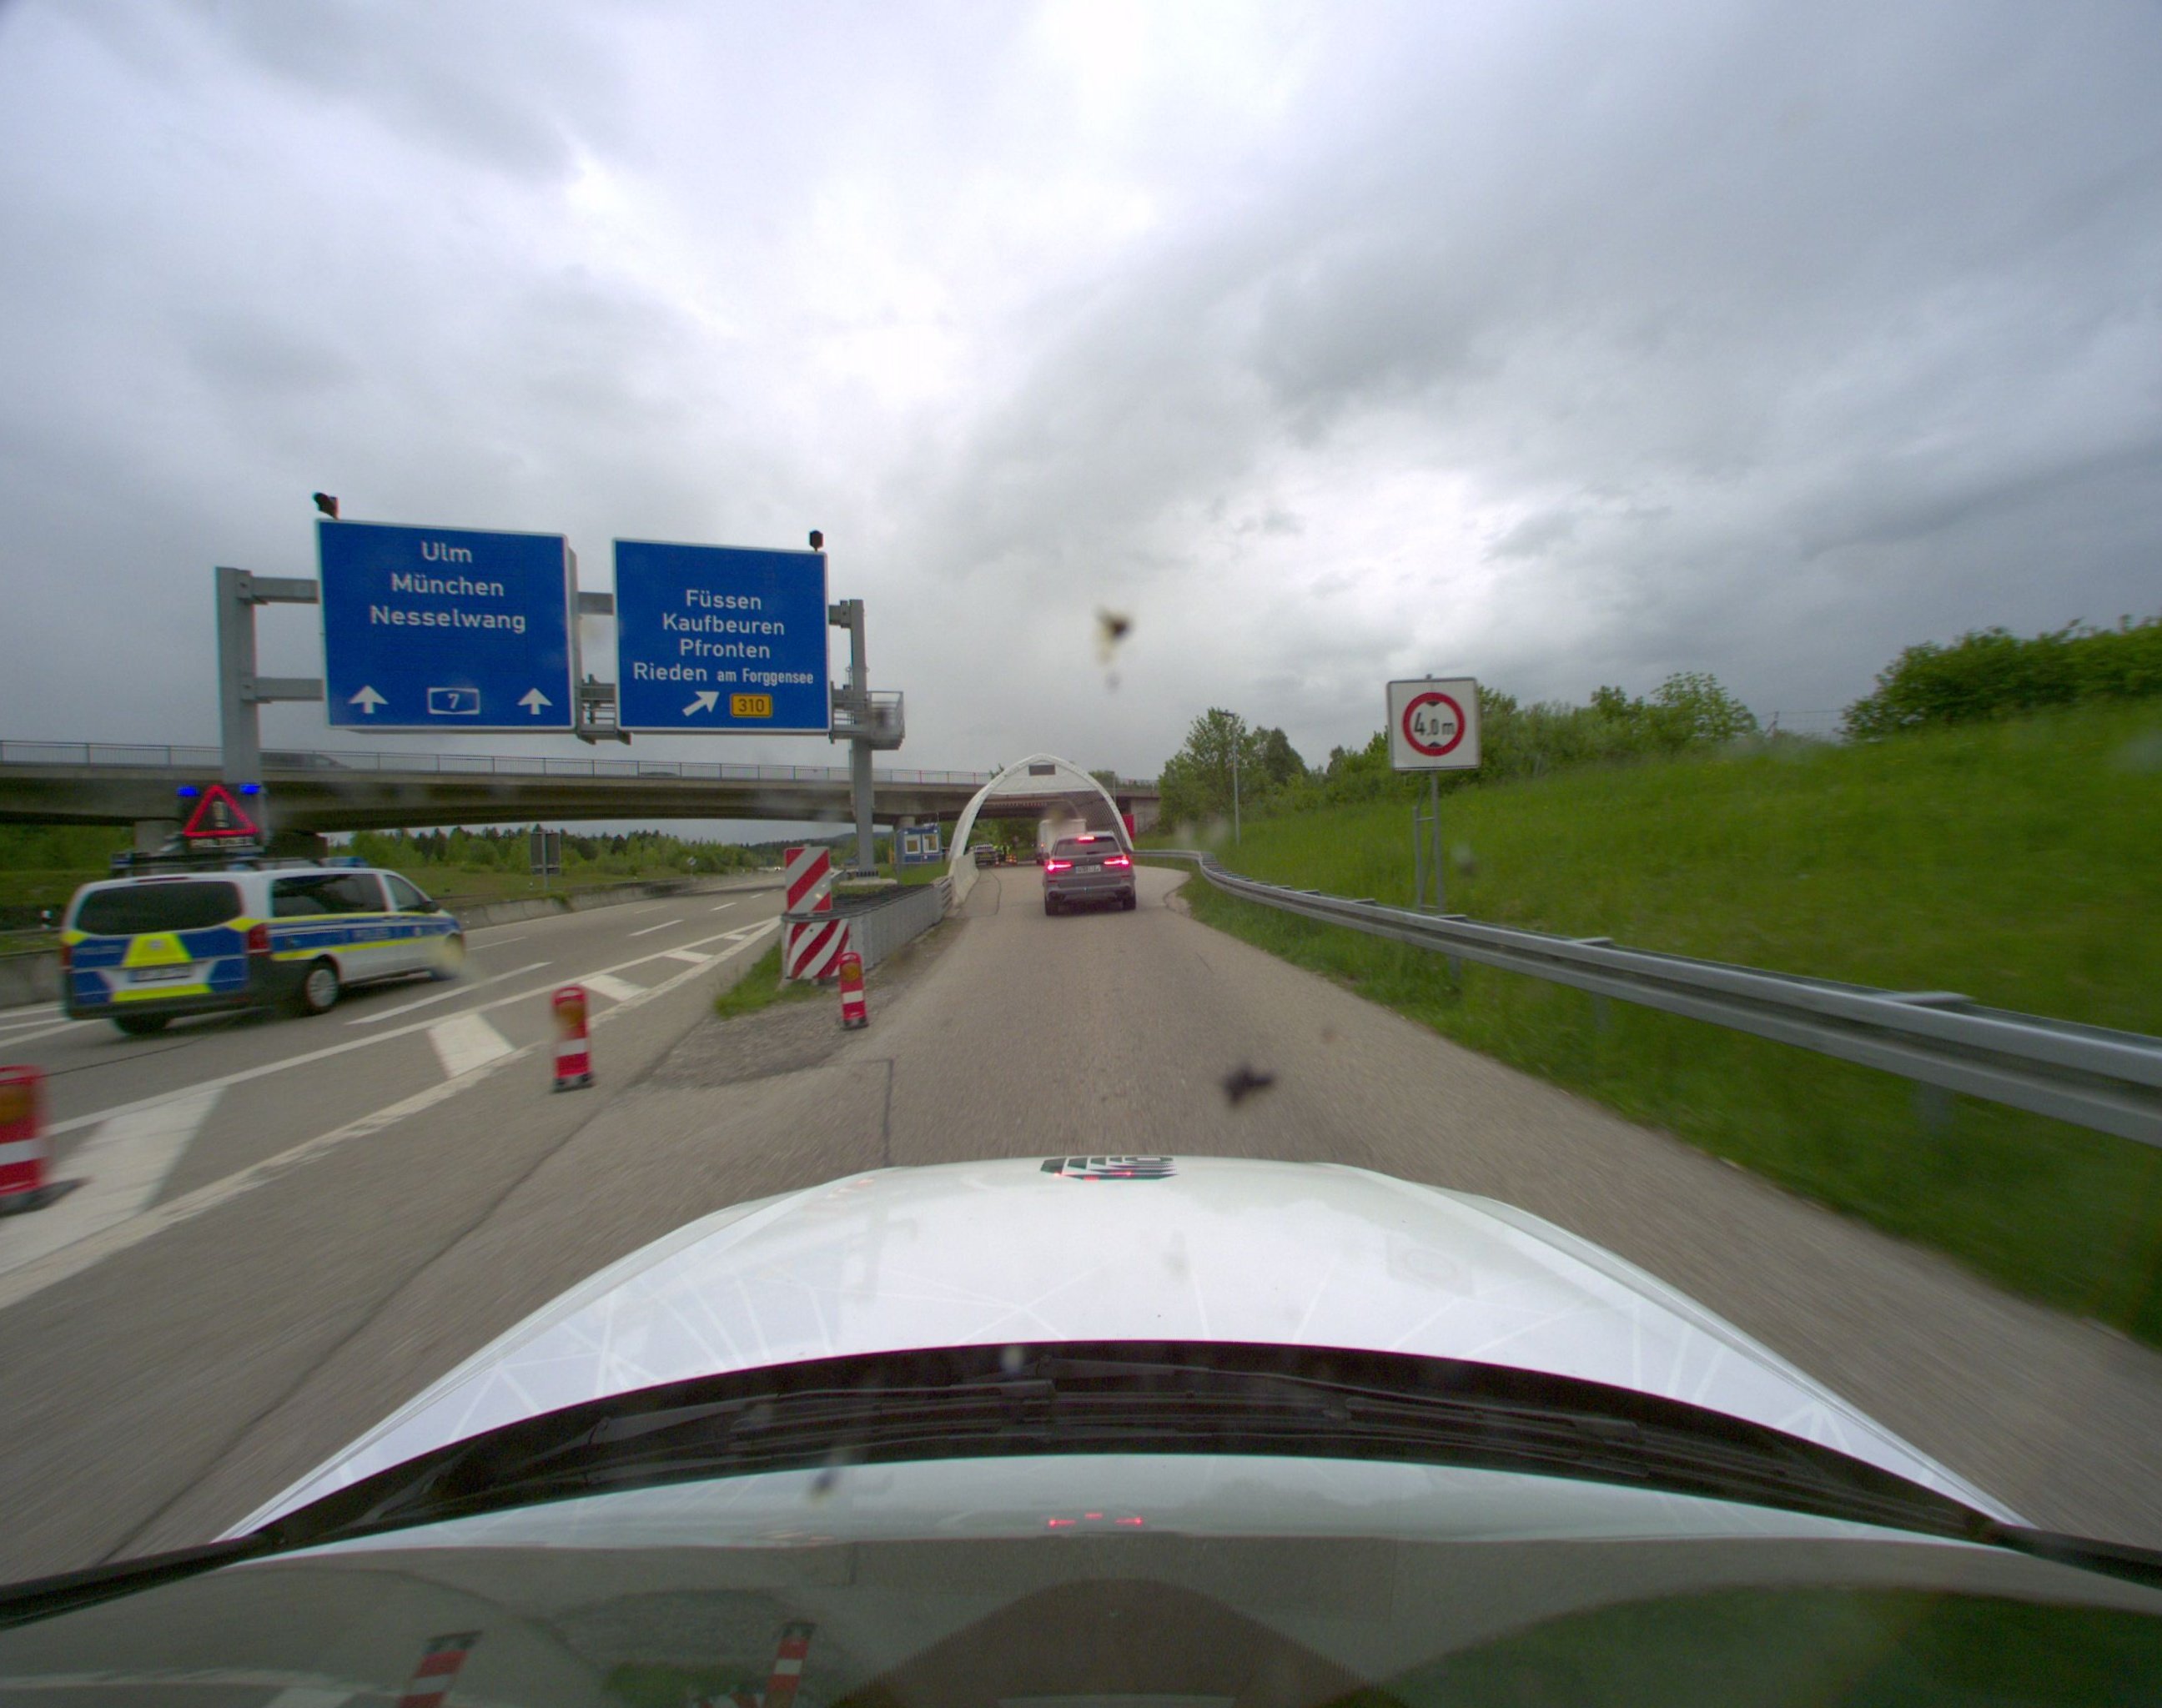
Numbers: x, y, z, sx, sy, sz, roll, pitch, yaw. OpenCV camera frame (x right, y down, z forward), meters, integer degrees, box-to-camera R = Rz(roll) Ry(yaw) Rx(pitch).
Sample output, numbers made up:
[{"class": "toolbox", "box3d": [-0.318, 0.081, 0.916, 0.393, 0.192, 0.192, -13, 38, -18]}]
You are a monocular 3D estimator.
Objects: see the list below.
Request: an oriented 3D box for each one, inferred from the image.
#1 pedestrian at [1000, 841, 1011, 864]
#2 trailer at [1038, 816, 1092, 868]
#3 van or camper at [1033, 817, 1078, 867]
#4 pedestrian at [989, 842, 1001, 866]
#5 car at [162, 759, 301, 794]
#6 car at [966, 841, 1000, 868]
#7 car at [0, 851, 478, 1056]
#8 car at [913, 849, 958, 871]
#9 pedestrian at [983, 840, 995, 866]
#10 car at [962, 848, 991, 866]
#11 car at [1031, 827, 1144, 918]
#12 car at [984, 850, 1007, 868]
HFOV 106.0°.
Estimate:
[{"class": "pedestrian", "box3d": [-5.868, -0.110, 63.346, 0.649, 1.775, 0.603, -5, 0, -13]}, {"class": "trailer", "box3d": [-0.985, -0.571, 44.088, 2.276, 2.430, 6.804, -4, 0, -5]}, {"class": "van or camper", "box3d": [-1.671, -0.659, 50.446, 2.154, 2.763, 5.858, -4, 0, -6]}, {"class": "pedestrian", "box3d": [-6.533, -0.027, 61.990, 0.720, 1.775, 0.687, -5, 0, -11]}, {"class": "car", "box3d": [-46.260, -4.242, 44.531, 4.964, 1.647, 1.977, -5, 0, -39]}, {"class": "car", "box3d": [-7.200, 0.060, 59.500, 1.995, 1.771, 3.750, -5, 0, -12]}, {"class": "car", "box3d": [-10.992, 1.097, 11.340, 2.290, 2.013, 5.025, -4, 0, -14]}, {"class": "car", "box3d": [-14.640, 0.564, 82.034, 3.969, 1.854, 1.711, -5, 0, 4]}, {"class": "pedestrian", "box3d": [-7.096, -0.101, 63.058, 0.720, 1.945, 0.687, -5, 0, -11]}, {"class": "car", "box3d": [-12.968, 0.410, 100.940, 2.007, 2.013, 3.960, -5, 0, -31]}, {"class": "car", "box3d": [0.272, 0.361, 18.668, 1.983, 1.719, 4.009, -4, 0, 7]}, {"class": "car", "box3d": [-9.686, 0.583, 91.957, 1.708, 1.854, 3.977, -5, 1, -16]}]
